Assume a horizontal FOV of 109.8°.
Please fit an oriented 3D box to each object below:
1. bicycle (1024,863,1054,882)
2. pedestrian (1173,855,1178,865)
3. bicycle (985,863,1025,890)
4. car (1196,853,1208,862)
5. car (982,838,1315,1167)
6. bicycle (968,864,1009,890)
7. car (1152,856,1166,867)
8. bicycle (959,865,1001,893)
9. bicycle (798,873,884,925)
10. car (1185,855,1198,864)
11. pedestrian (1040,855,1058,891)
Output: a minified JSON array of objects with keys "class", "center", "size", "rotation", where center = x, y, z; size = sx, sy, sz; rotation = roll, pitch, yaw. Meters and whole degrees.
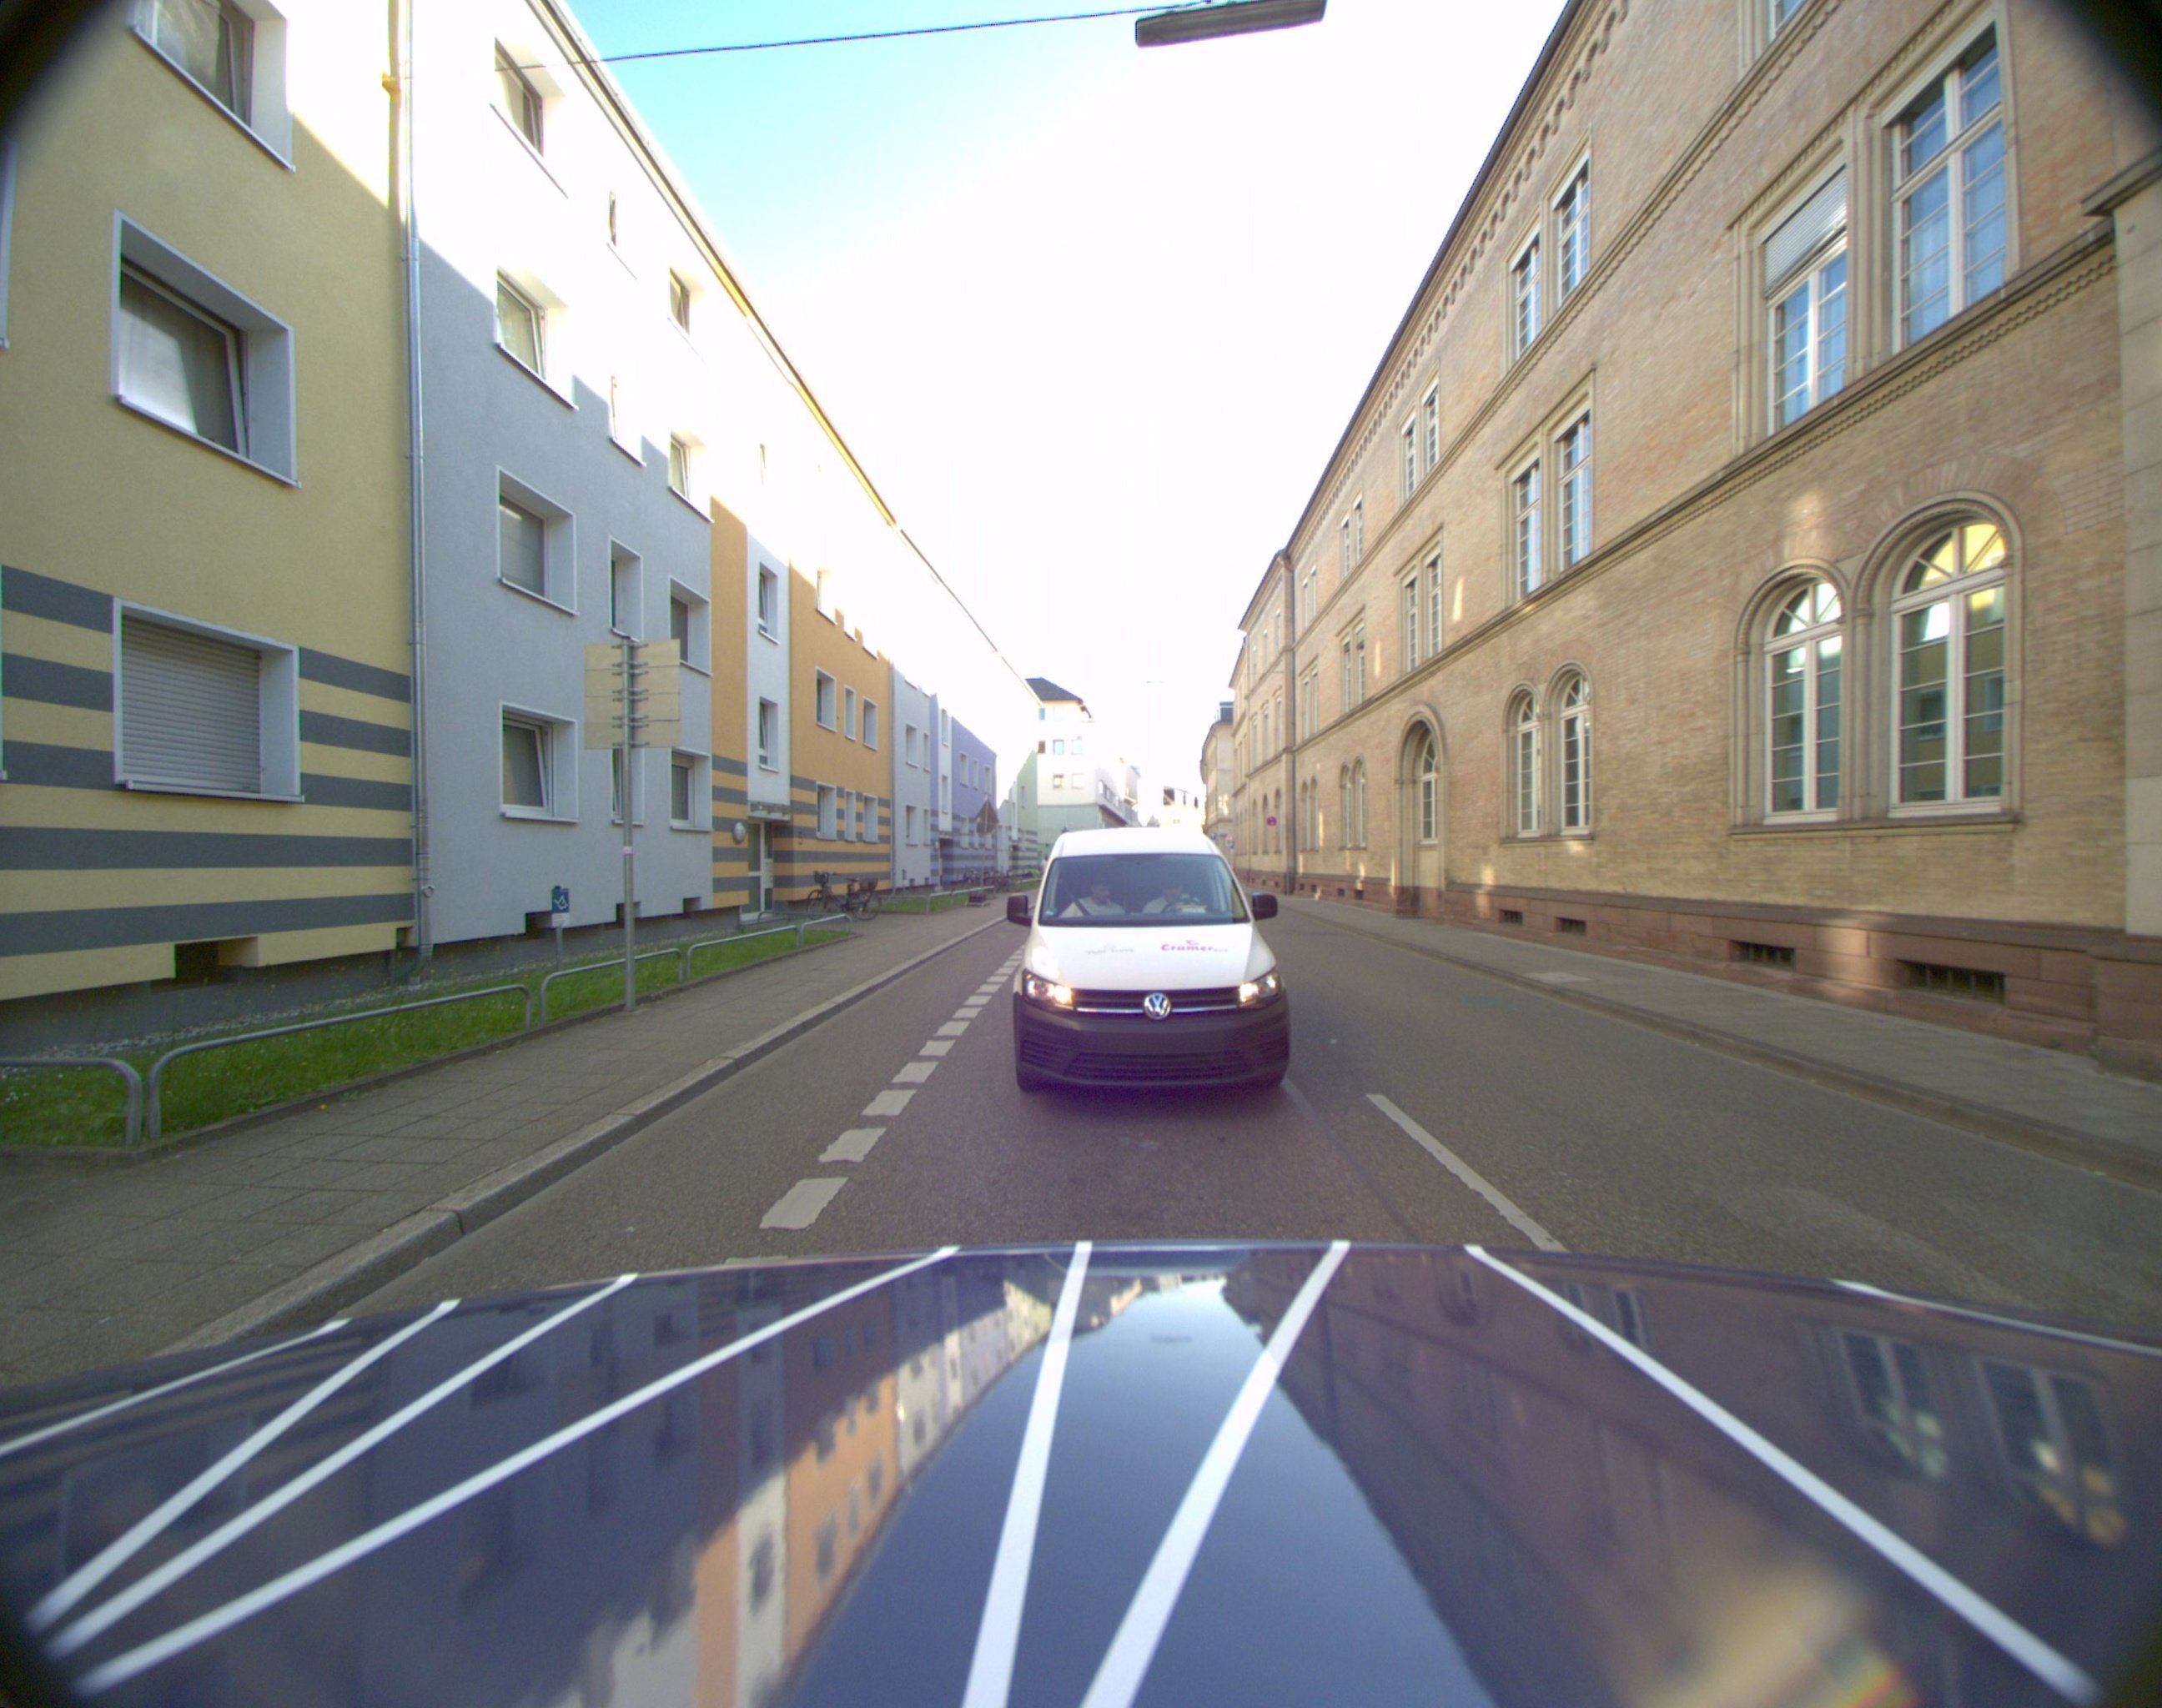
[{"class":"bicycle","center":[-2.511,1.133,46.047],"size":[1.779,1.145,0.484],"rotation":[0,0,0]},{"class":"pedestrian","center":[15.947,1.009,128.310],"size":[0.705,1.627,0.833],"rotation":[3,2,12]},{"class":"bicycle","center":[-3.368,0.987,33.676],"size":[1.676,1.145,0.484],"rotation":[0,0,4]},{"class":"car","center":[26.097,0.744,163.748],"size":[1.996,1.643,4.233],"rotation":[-2,1,17]},{"class":"car","center":[0.399,0.771,6.746],"size":[1.769,1.761,5.331],"rotation":[-1,1,1]},{"class":"bicycle","center":[-4.027,1.004,33.130],"size":[1.676,1.145,0.484],"rotation":[0,0,4]},{"class":"car","center":[12.652,1.148,122.695],"size":[1.997,1.643,4.231],"rotation":[-2,1,9]},{"class":"bicycle","center":[-4.231,1.031,31.837],"size":[1.676,1.145,0.484],"rotation":[0,0,4]},{"class":"bicycle","center":[-5.381,1.002,17.100],"size":[1.780,1.116,0.484],"rotation":[0,0,-5]},{"class":"car","center":[22.114,1.032,152.017],"size":[1.996,1.643,4.233],"rotation":[-2,1,17]},{"class":"pedestrian","center":[-1.472,0.874,35.145],"size":[0.705,1.627,0.833],"rotation":[2,2,5]}]
